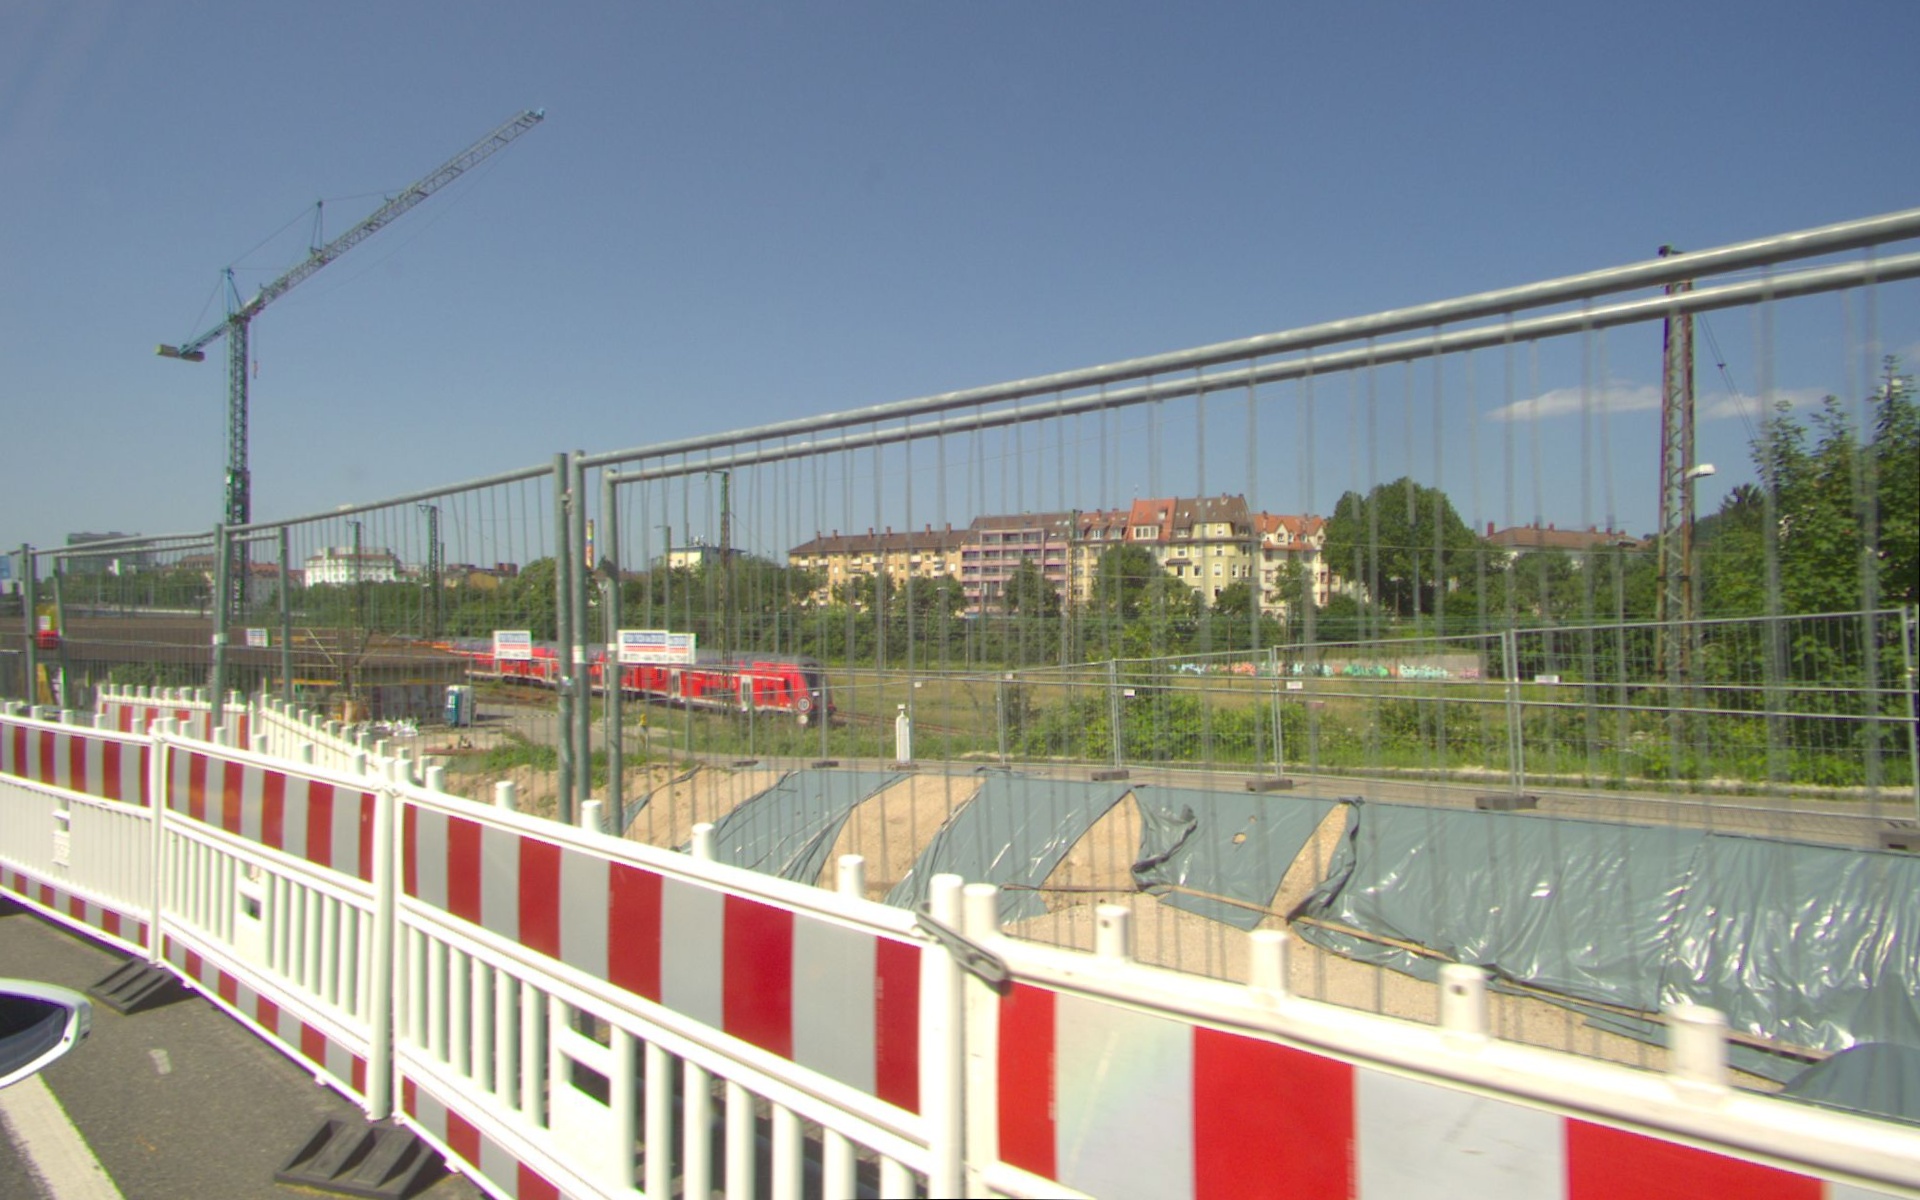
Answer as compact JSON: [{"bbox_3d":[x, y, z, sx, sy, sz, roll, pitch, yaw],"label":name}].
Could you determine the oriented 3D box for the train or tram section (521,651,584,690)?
[{"bbox_3d":[-41.791,7.218,102.573,2.995,3.748,8.892,4,-4,-42],"label":"train or tram section"}]

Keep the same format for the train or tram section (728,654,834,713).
[{"bbox_3d":[-12.489,5.672,69.222,2.994,3.746,8.895,4,-4,-41],"label":"train or tram section"}]

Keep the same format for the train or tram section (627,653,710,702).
[{"bbox_3d":[-24.122,6.324,82.522,2.994,3.757,8.895,4,-4,-41],"label":"train or tram section"}]

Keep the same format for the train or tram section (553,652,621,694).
[{"bbox_3d":[-35.790,6.941,95.855,2.994,3.748,8.895,4,-4,-41],"label":"train or tram section"}]

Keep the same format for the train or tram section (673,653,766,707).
[{"bbox_3d":[-18.321,5.968,75.874,2.994,3.759,8.895,4,-4,-41],"label":"train or tram section"}]

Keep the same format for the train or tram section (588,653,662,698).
[{"bbox_3d":[-29.946,6.662,89.189,2.994,3.748,8.895,4,-4,-41],"label":"train or tram section"}]

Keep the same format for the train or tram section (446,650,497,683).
[{"bbox_3d":[-59.677,8.069,122.266,2.996,3.749,8.890,4,-4,-43],"label":"train or tram section"}]
